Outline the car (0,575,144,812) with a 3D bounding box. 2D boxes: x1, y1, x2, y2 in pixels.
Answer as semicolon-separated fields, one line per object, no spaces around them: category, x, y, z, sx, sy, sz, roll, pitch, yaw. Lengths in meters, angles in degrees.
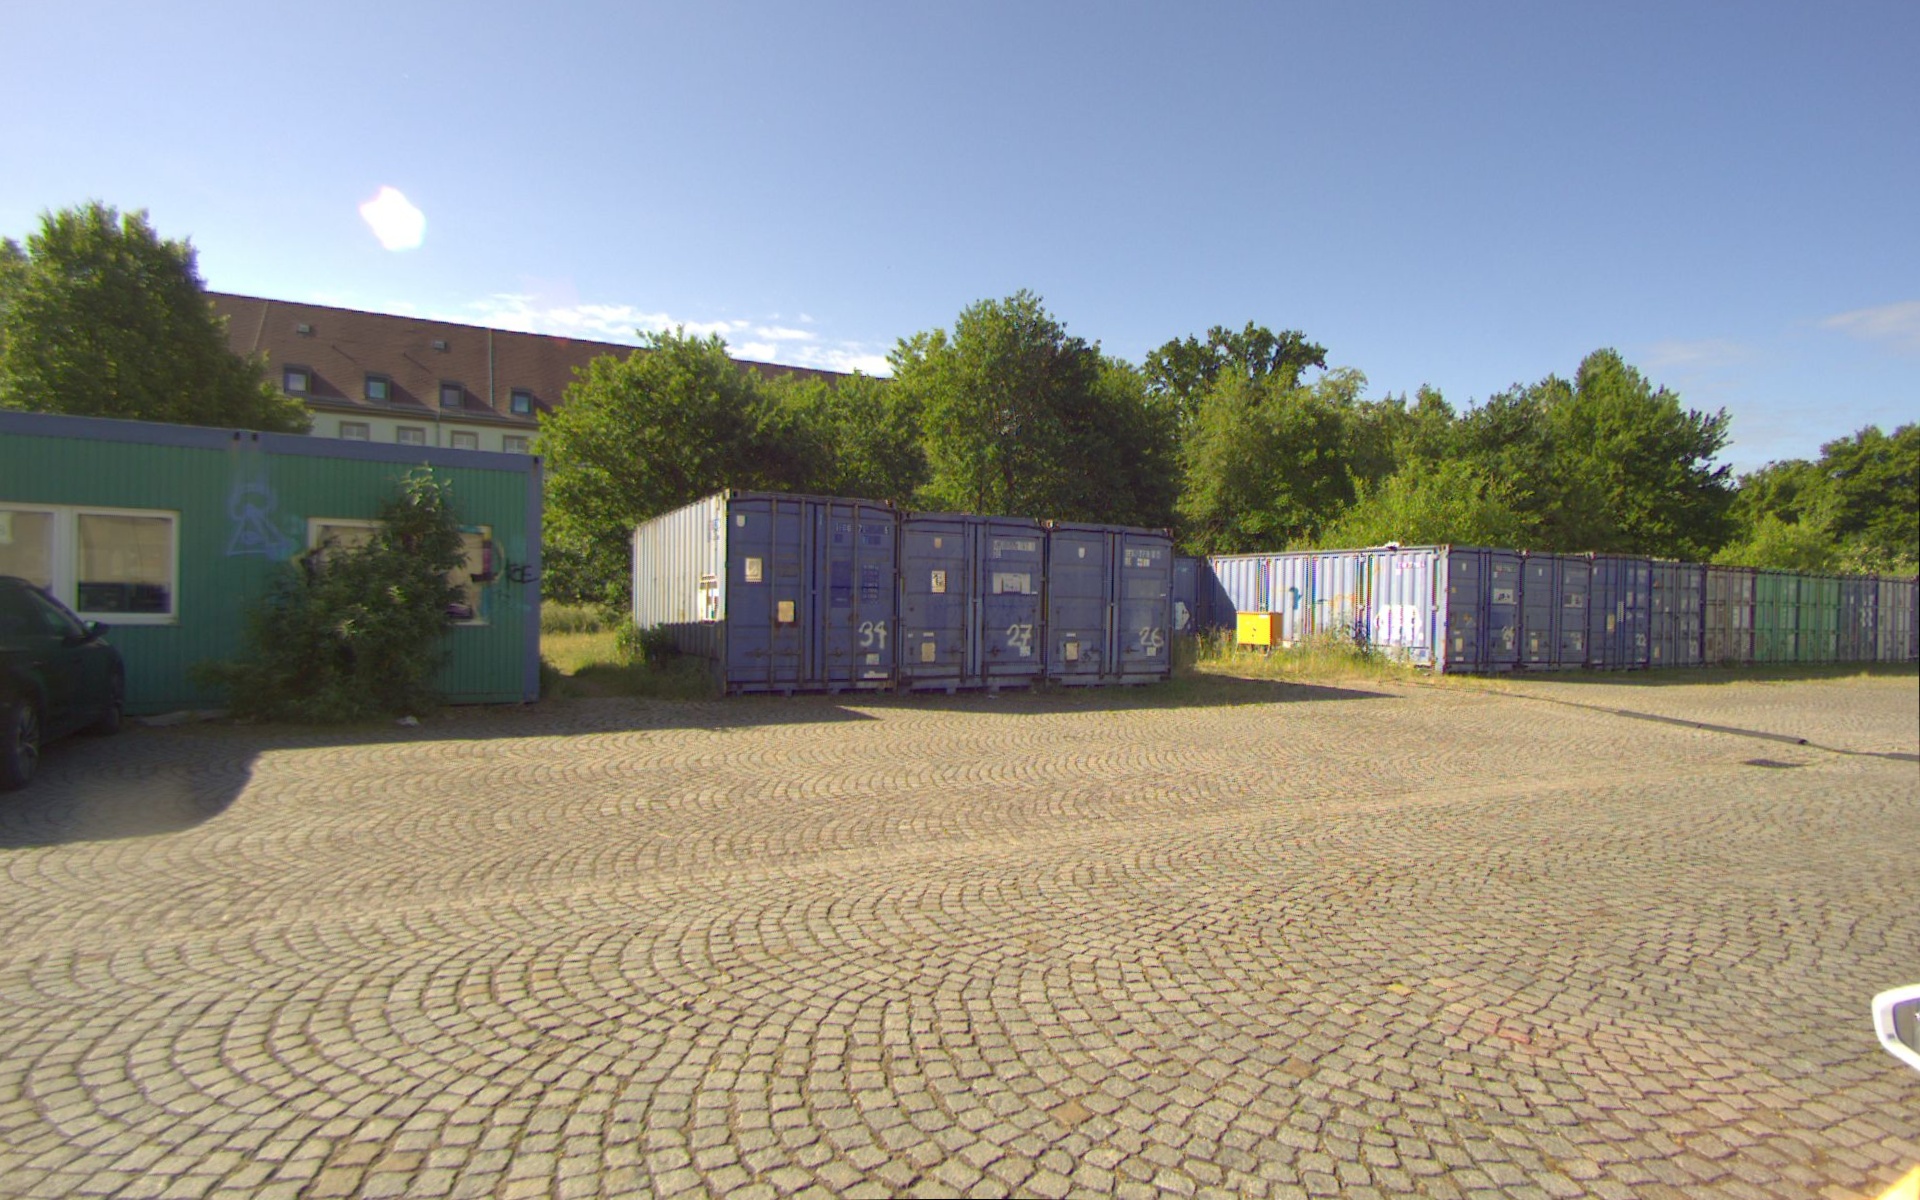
car;-7.681;0.555;7.323;1.908;1.469;4.233;2;1;-29
